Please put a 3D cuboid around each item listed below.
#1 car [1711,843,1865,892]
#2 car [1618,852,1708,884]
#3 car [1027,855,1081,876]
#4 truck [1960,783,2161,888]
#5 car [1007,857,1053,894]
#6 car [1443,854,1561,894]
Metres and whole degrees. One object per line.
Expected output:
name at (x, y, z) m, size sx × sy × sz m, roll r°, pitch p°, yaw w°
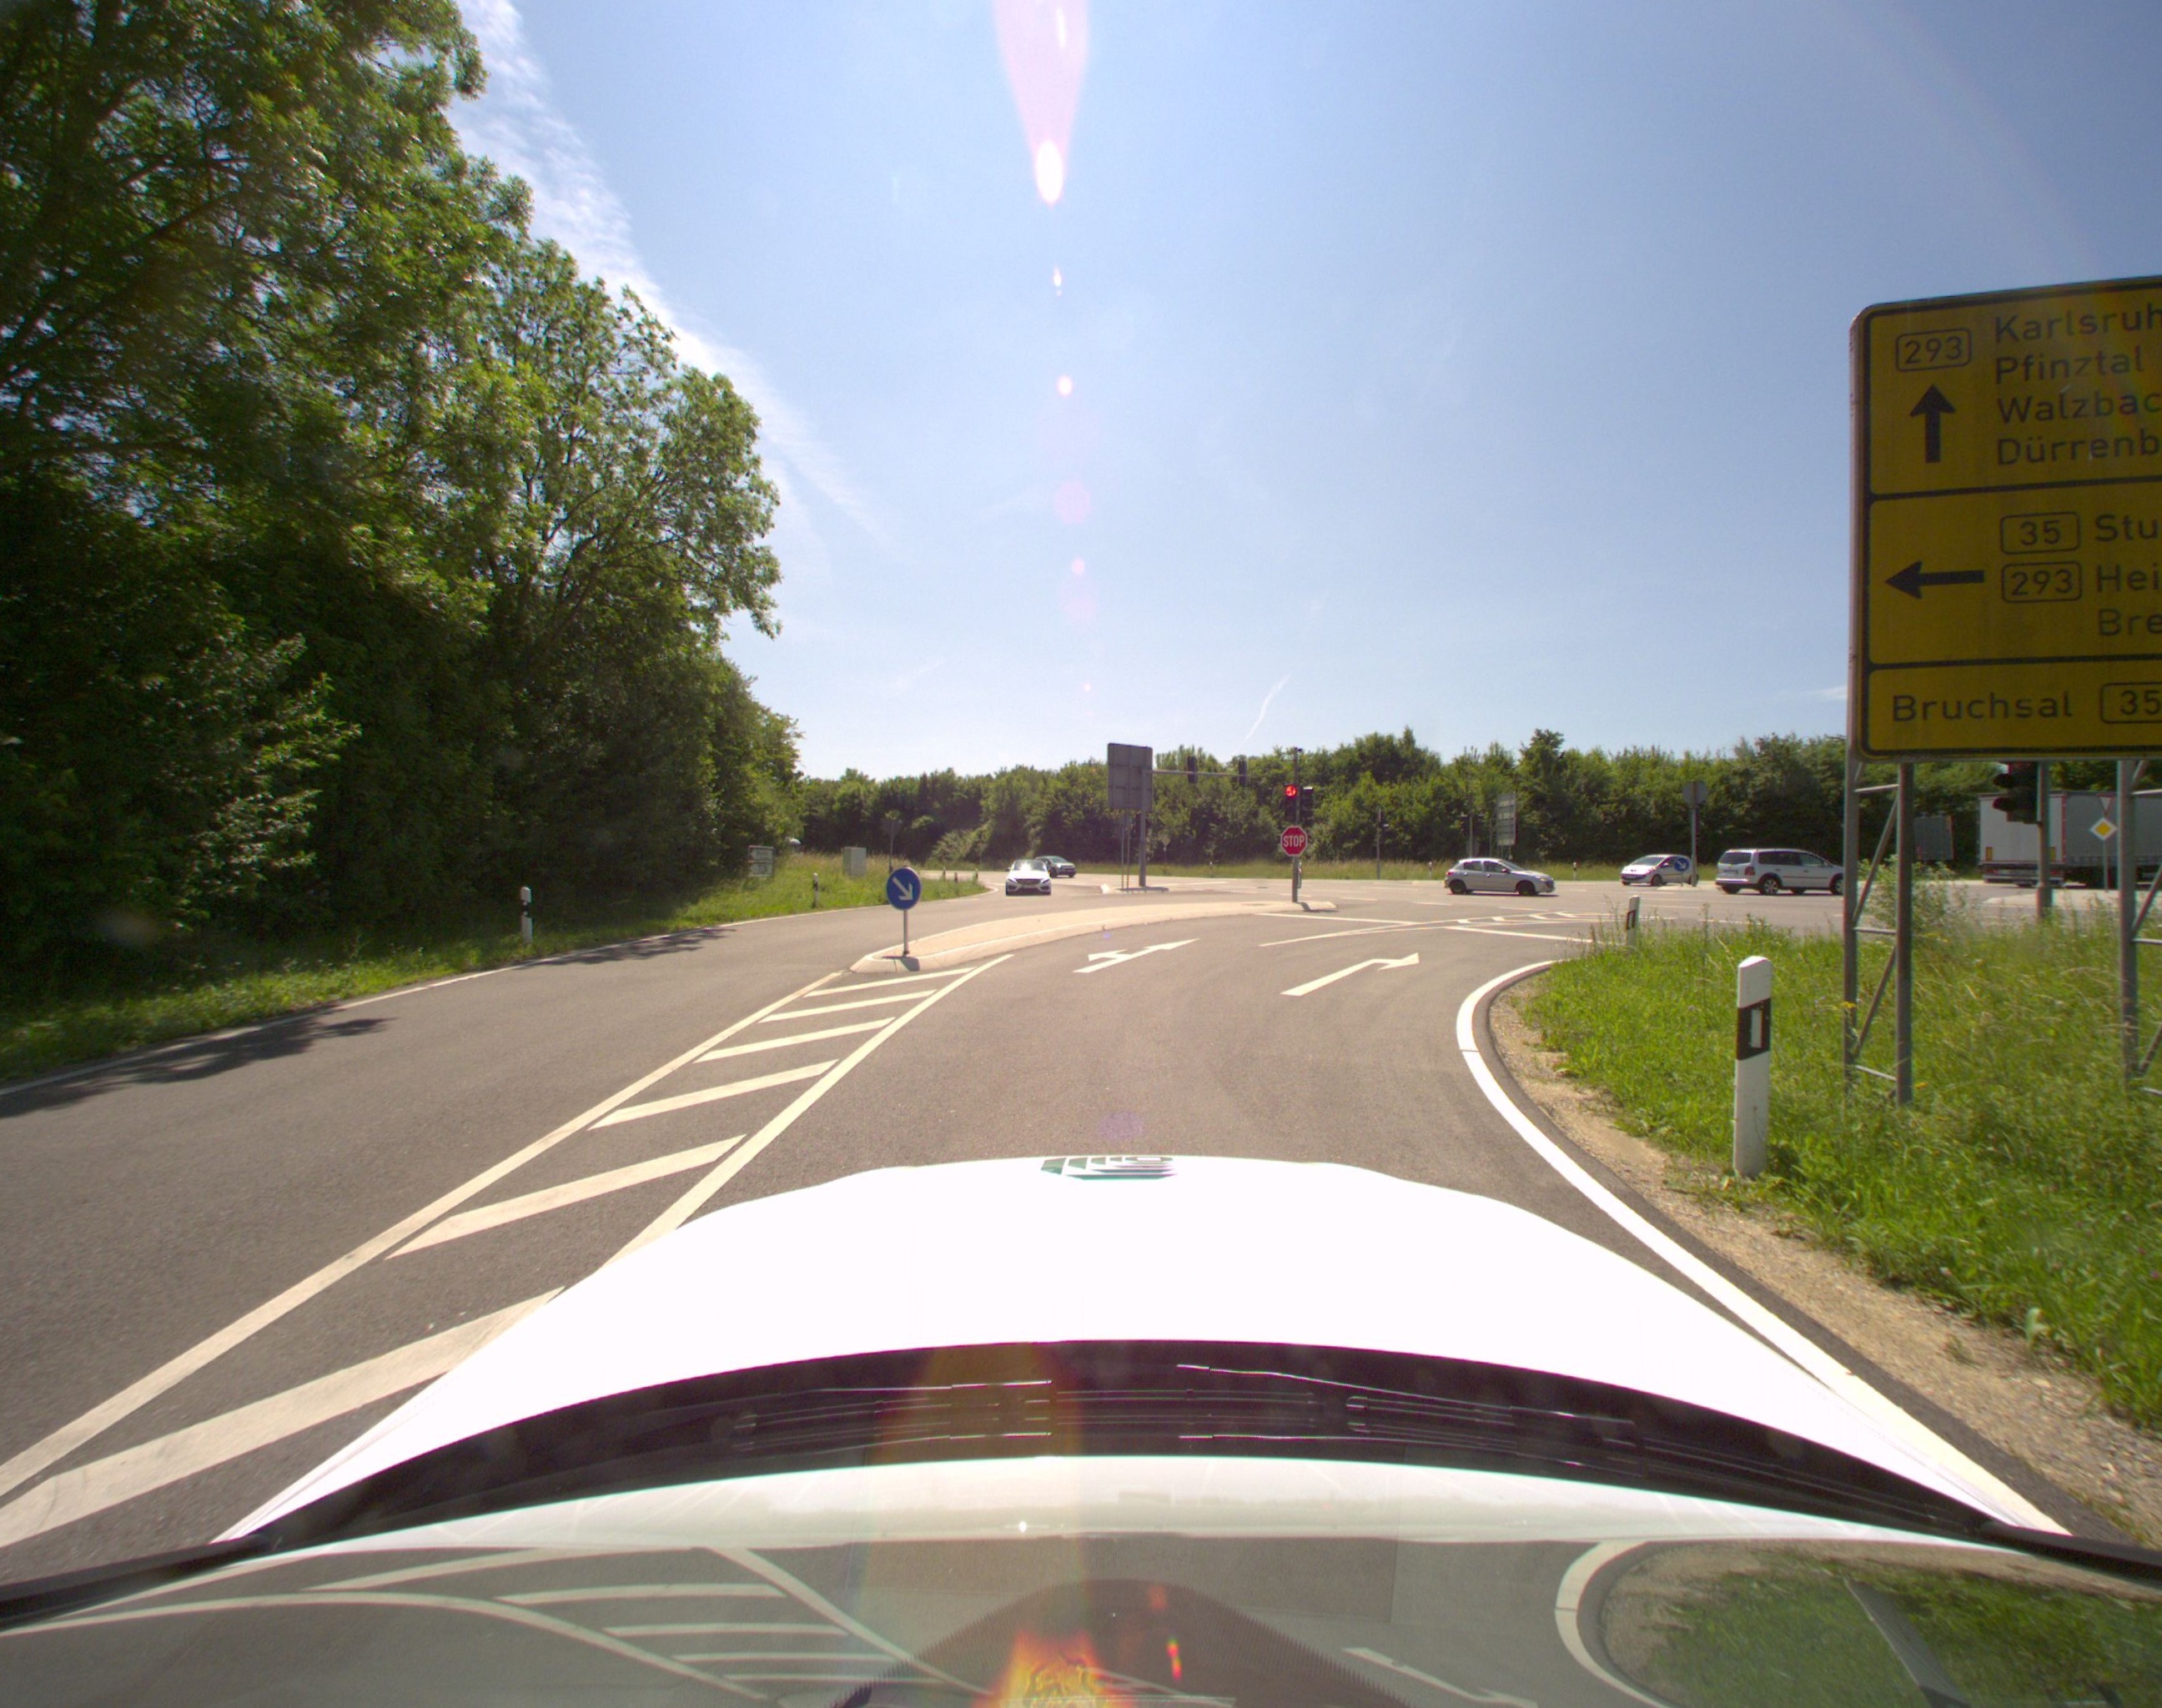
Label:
car at (25.610, 0.486, 29.610) m, size 4.034 × 1.625 × 1.818 m, roll -1°, pitch -1°, yaw -1°
car at (27.123, 0.632, 37.954) m, size 3.527 × 1.370 × 1.562 m, roll -1°, pitch 0°, yaw -16°
car at (-1.945, 0.806, 57.791) m, size 1.743 × 1.404 × 3.940 m, roll -1°, pitch 1°, yaw -40°
truck at (46.447, -0.914, 36.556) m, size 16.684 × 4.172 × 3.115 m, roll -1°, pitch 0°, yaw -20°
car at (-2.229, 0.849, 34.720) m, size 1.801 × 1.412 × 5.325 m, roll 1°, pitch 0°, yaw -5°
car at (16.275, 0.756, 31.582) m, size 3.735 × 1.413 × 1.830 m, roll -1°, pitch 0°, yaw 41°
